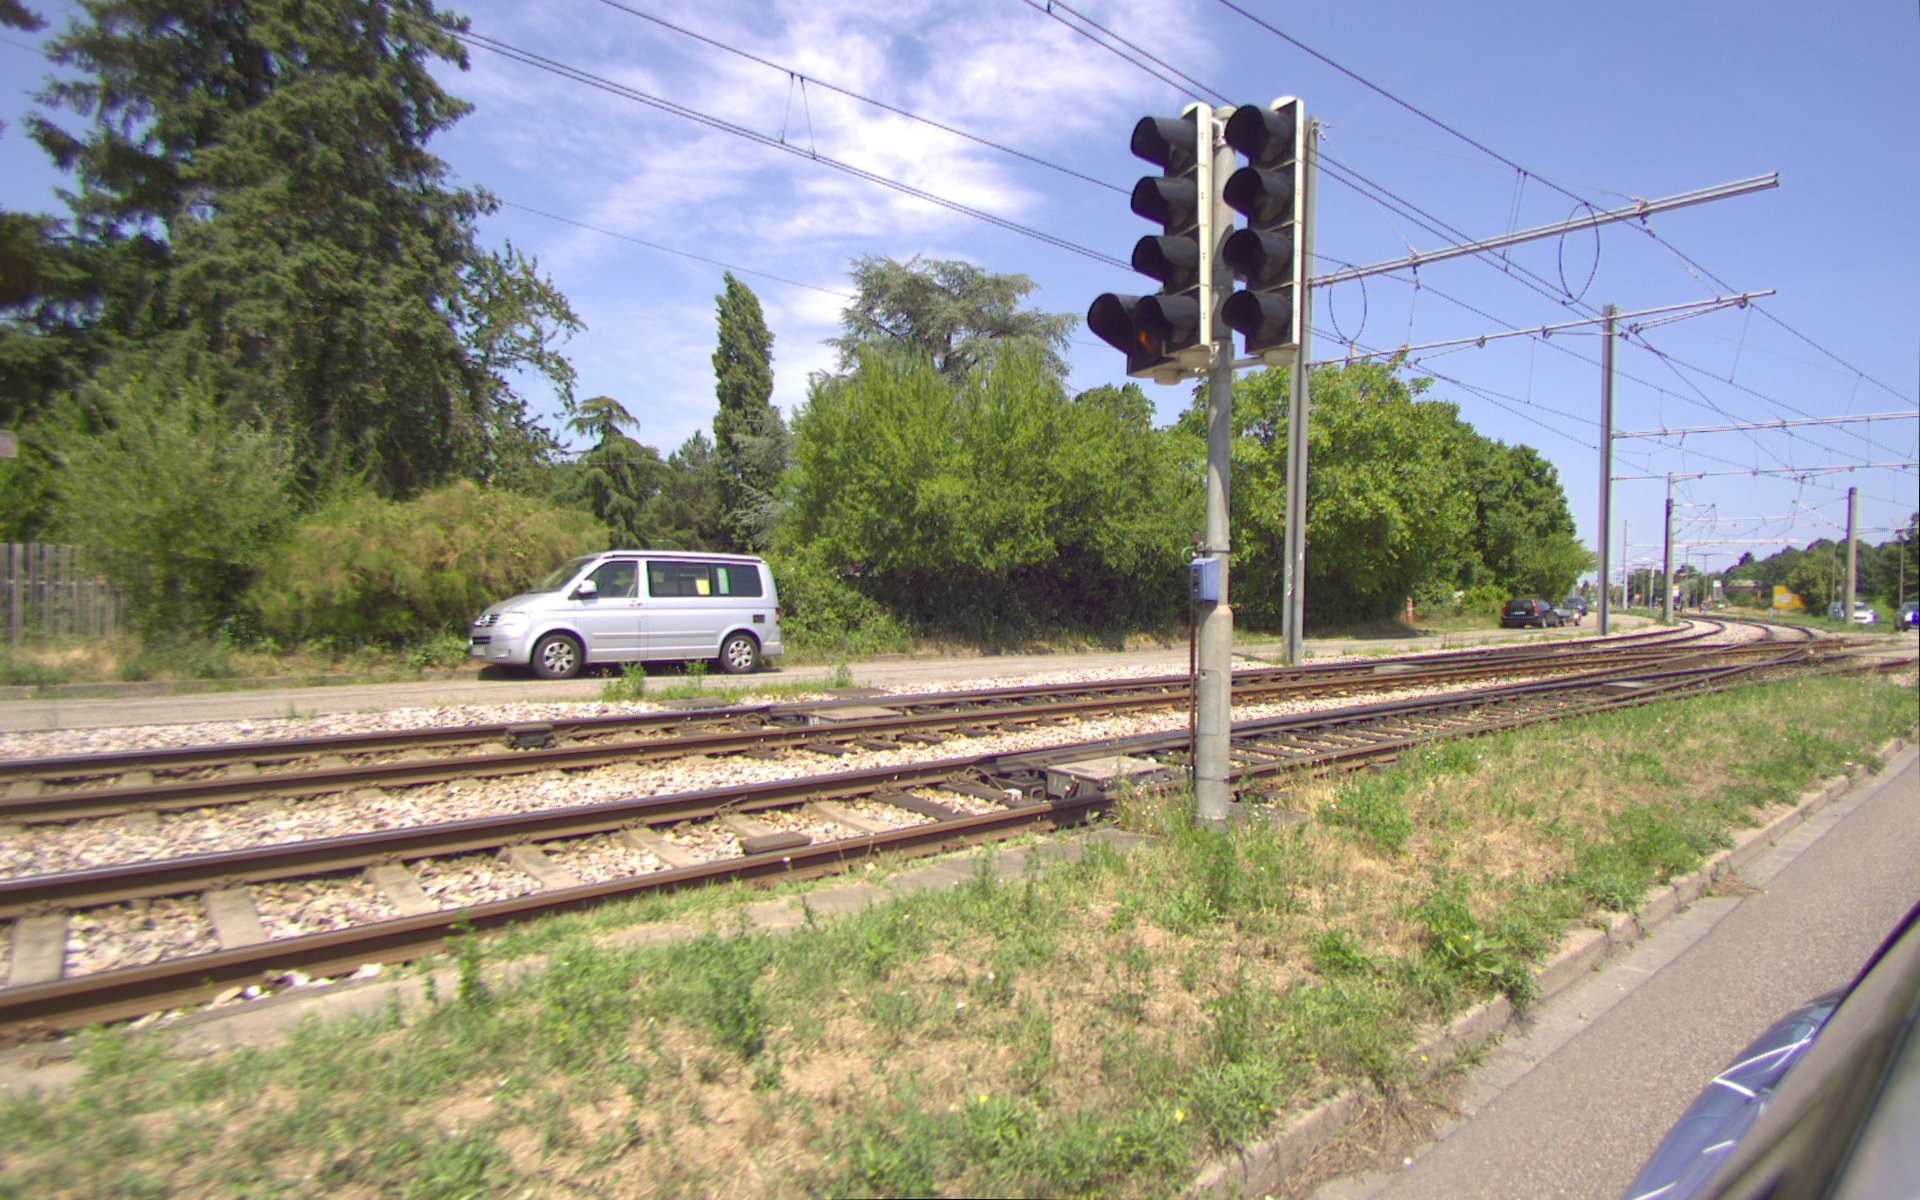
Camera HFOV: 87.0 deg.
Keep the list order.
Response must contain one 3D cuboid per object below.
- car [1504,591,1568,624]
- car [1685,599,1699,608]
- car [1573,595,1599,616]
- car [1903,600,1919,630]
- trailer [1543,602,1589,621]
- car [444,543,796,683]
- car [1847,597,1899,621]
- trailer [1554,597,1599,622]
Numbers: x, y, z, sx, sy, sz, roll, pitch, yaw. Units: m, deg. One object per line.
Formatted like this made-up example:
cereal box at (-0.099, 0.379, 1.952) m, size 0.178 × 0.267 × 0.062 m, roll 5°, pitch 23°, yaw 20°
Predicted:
car at (28.554, 0.349, 50.069) m, size 1.796 × 1.443 × 4.669 m, roll 2°, pitch 3°, yaw 42°
car at (147.450, 0.730, 203.917) m, size 1.818 × 1.622 × 4.435 m, roll 1°, pitch 0°, yaw 30°
car at (57.279, 0.476, 92.691) m, size 1.818 × 1.677 × 4.766 m, roll 2°, pitch 2°, yaw 30°
car at (49.245, 0.758, 51.538) m, size 1.503 × 1.449 × 3.311 m, roll 2°, pitch 2°, yaw 39°
trailer at (32.788, 0.618, 54.746) m, size 1.418 × 1.007 × 3.939 m, roll -1°, pitch -1°, yaw 42°
car at (-5.295, 0.102, 16.235) m, size 4.982 × 1.905 × 2.040 m, roll -1°, pitch 2°, yaw -42°
car at (64.254, 0.588, 71.267) m, size 1.792 × 1.492 × 3.481 m, roll 1°, pitch 2°, yaw 26°
trailer at (35.274, 0.527, 57.852) m, size 1.461 × 1.237 × 3.940 m, roll 2°, pitch 2°, yaw 42°
